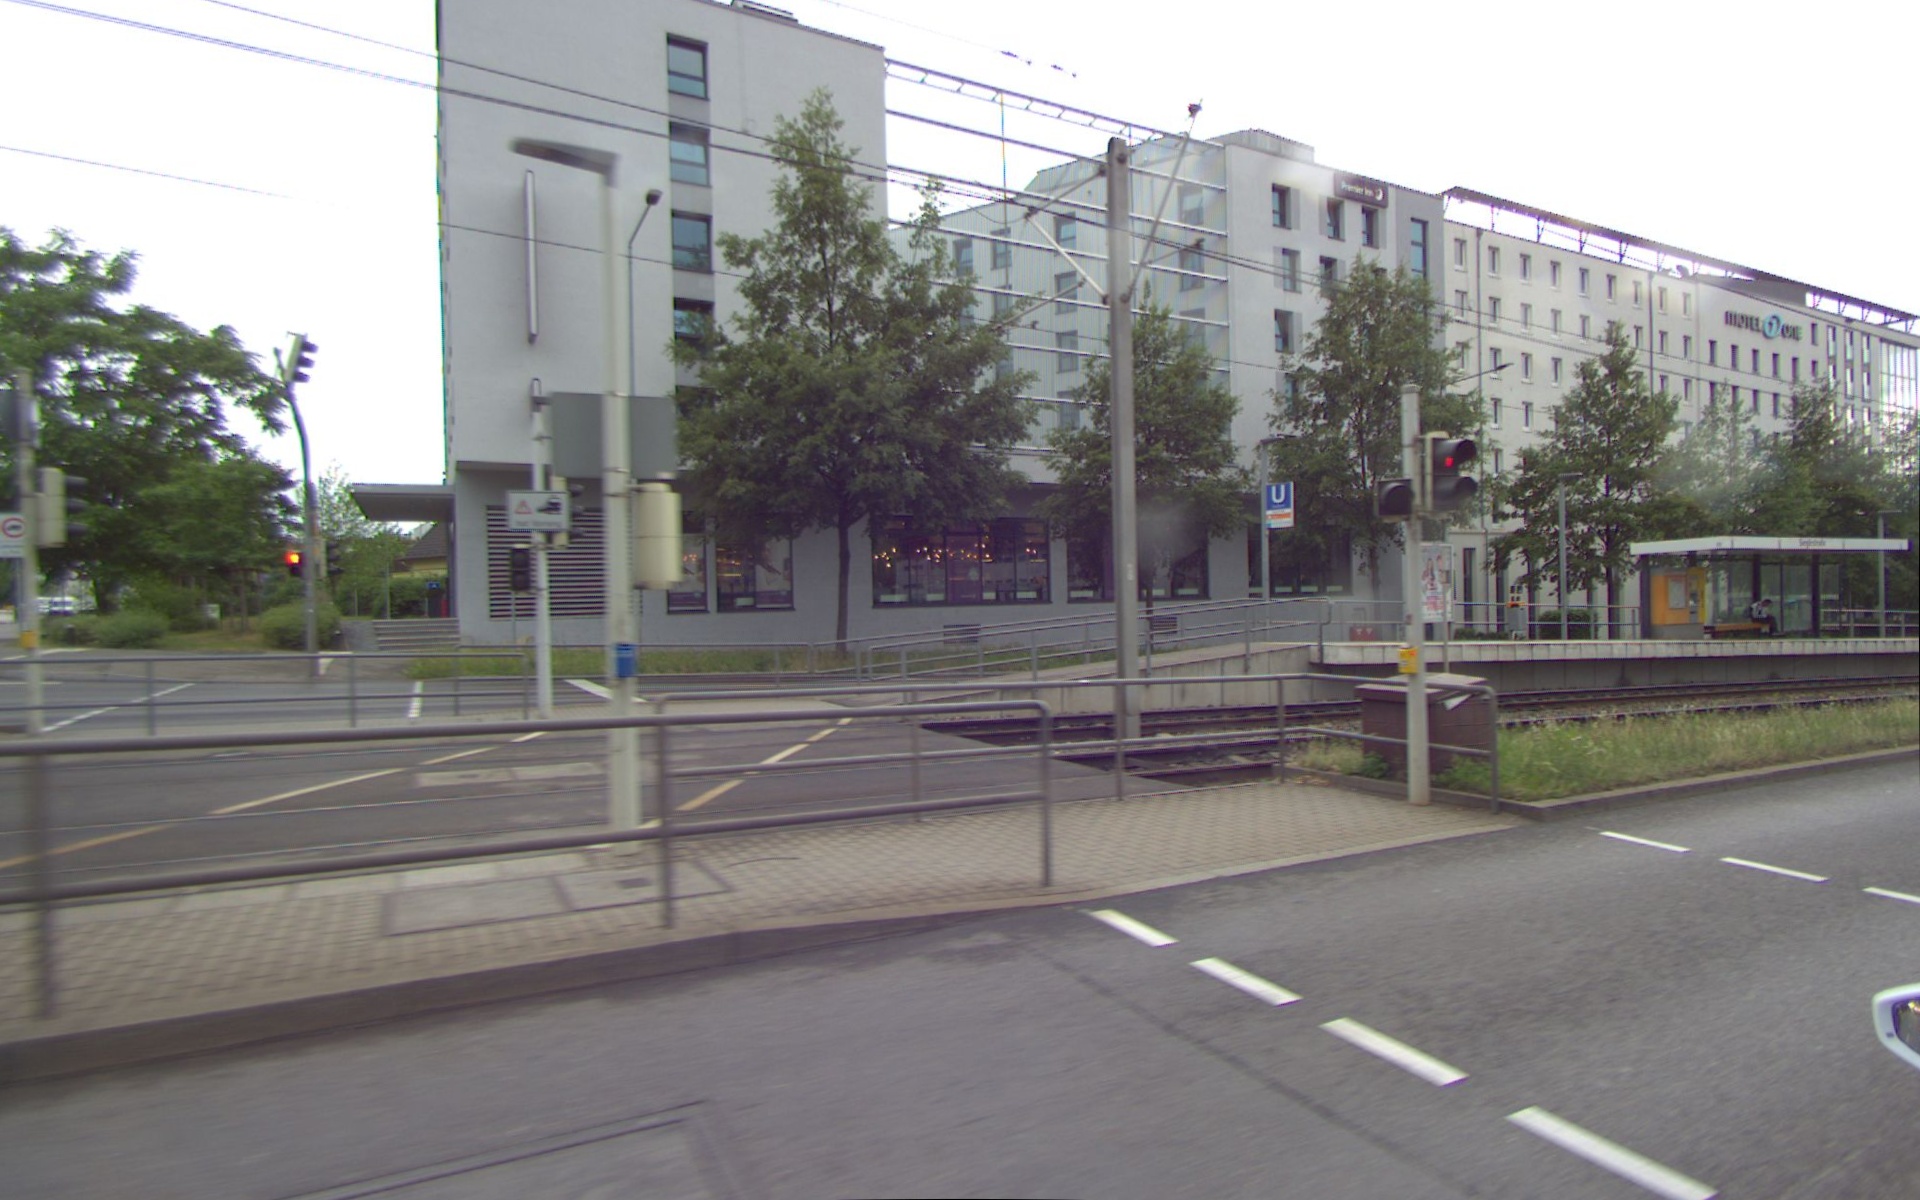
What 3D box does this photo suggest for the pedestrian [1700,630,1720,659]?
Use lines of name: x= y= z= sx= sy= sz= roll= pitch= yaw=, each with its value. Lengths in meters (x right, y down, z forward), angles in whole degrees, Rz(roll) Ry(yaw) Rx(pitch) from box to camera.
pedestrian: x=43.425 y=2.568 z=58.170 sx=0.824 sy=1.599 sz=0.598 roll=2 pitch=1 yaw=-27

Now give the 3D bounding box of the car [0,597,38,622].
car: x=-83.054 y=0.857 z=88.436 sx=2.217 sy=2.040 sz=3.961 roll=2 pitch=0 yaw=-34

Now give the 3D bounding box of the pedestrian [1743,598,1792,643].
pedestrian: x=24.207 y=0.620 z=30.121 sx=0.676 sy=1.317 sz=0.957 roll=1 pitch=-1 yaw=-28

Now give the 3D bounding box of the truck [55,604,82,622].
truck: x=-105.898 y=1.550 z=119.316 sx=2.201 sy=2.040 sz=4.687 roll=1 pitch=-1 yaw=-39
